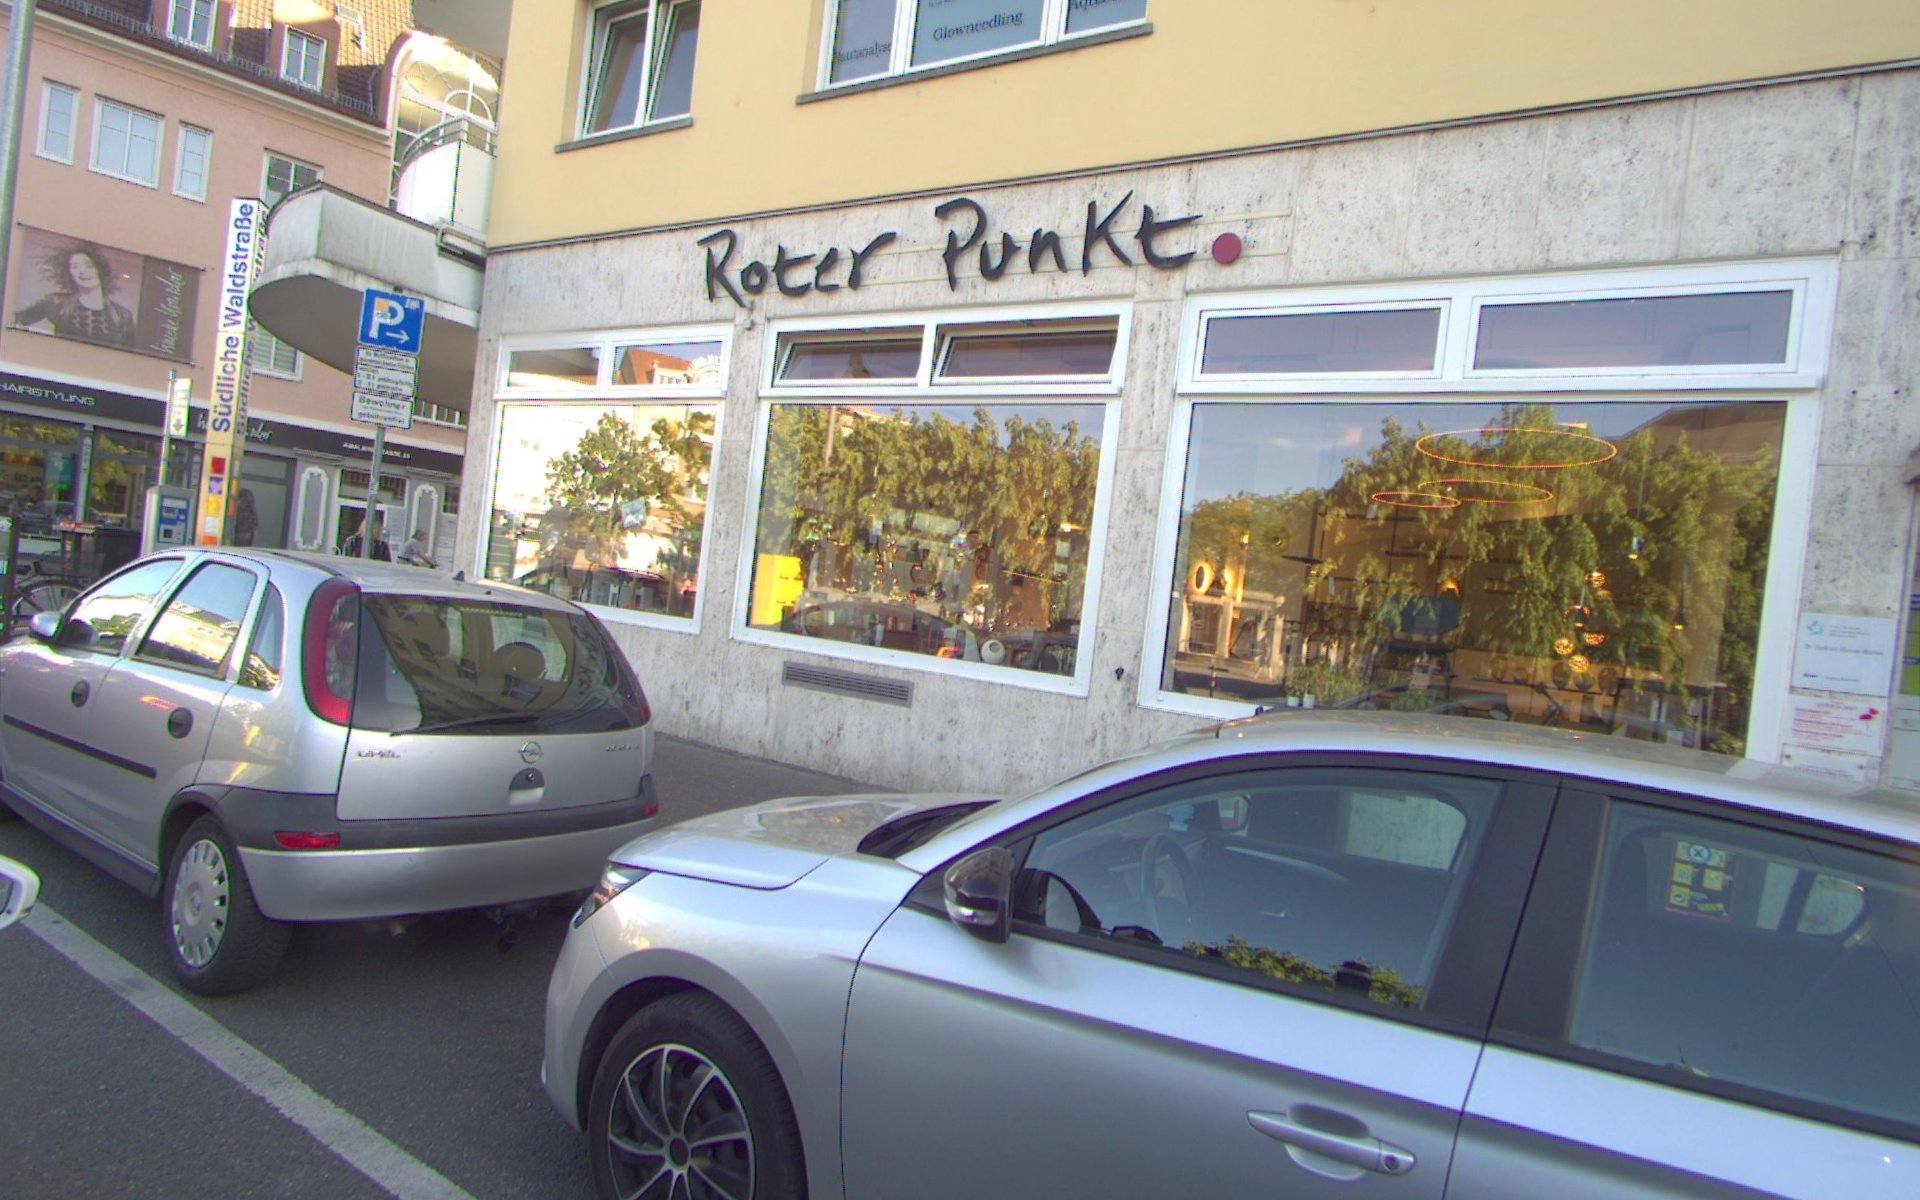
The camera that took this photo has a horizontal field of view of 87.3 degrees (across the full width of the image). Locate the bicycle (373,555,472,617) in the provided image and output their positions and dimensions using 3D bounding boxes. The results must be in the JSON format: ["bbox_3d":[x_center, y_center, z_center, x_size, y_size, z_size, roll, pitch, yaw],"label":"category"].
[{"bbox_3d":[-11.079,-0.272,20.786,0.583,1.057,1.612,6,-2,44],"label":"bicycle"}]

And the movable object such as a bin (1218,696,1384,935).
[{"bbox_3d":[1.865,1.121,5.475,0.609,1.082,0.703,7,3,31],"label":"movable object such as a bin"}]

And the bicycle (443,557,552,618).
[{"bbox_3d":[-10.511,-0.266,22.928,2.116,1.215,0.621,5,2,-43],"label":"bicycle"}]

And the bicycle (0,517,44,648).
[{"bbox_3d":[-9.130,-0.203,8.741,0.425,1.175,1.629,7,1,30],"label":"bicycle"}]

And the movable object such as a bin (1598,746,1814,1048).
[{"bbox_3d":[3.331,1.281,4.562,0.609,1.082,0.703,7,3,31],"label":"movable object such as a bin"}]

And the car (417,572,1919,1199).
[{"bbox_3d":[0.927,0.925,2.184,4.006,1.444,1.674,7,-1,28],"label":"car"}]

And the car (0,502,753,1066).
[{"bbox_3d":[-2.949,0.450,4.446,3.822,1.411,1.624,7,-1,33],"label":"car"}]

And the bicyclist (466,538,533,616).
[{"bbox_3d":[-10.488,-0.520,22.927,1.094,1.608,0.621,7,0,-42],"label":"bicyclist"}]

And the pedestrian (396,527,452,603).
[{"bbox_3d":[-11.069,-0.719,20.761,0.741,1.457,0.575,8,-1,-45],"label":"pedestrian"}]

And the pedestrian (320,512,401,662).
[{"bbox_3d":[-6.938,-0.148,11.666,0.656,1.654,0.623,4,2,-27],"label":"pedestrian"}]
